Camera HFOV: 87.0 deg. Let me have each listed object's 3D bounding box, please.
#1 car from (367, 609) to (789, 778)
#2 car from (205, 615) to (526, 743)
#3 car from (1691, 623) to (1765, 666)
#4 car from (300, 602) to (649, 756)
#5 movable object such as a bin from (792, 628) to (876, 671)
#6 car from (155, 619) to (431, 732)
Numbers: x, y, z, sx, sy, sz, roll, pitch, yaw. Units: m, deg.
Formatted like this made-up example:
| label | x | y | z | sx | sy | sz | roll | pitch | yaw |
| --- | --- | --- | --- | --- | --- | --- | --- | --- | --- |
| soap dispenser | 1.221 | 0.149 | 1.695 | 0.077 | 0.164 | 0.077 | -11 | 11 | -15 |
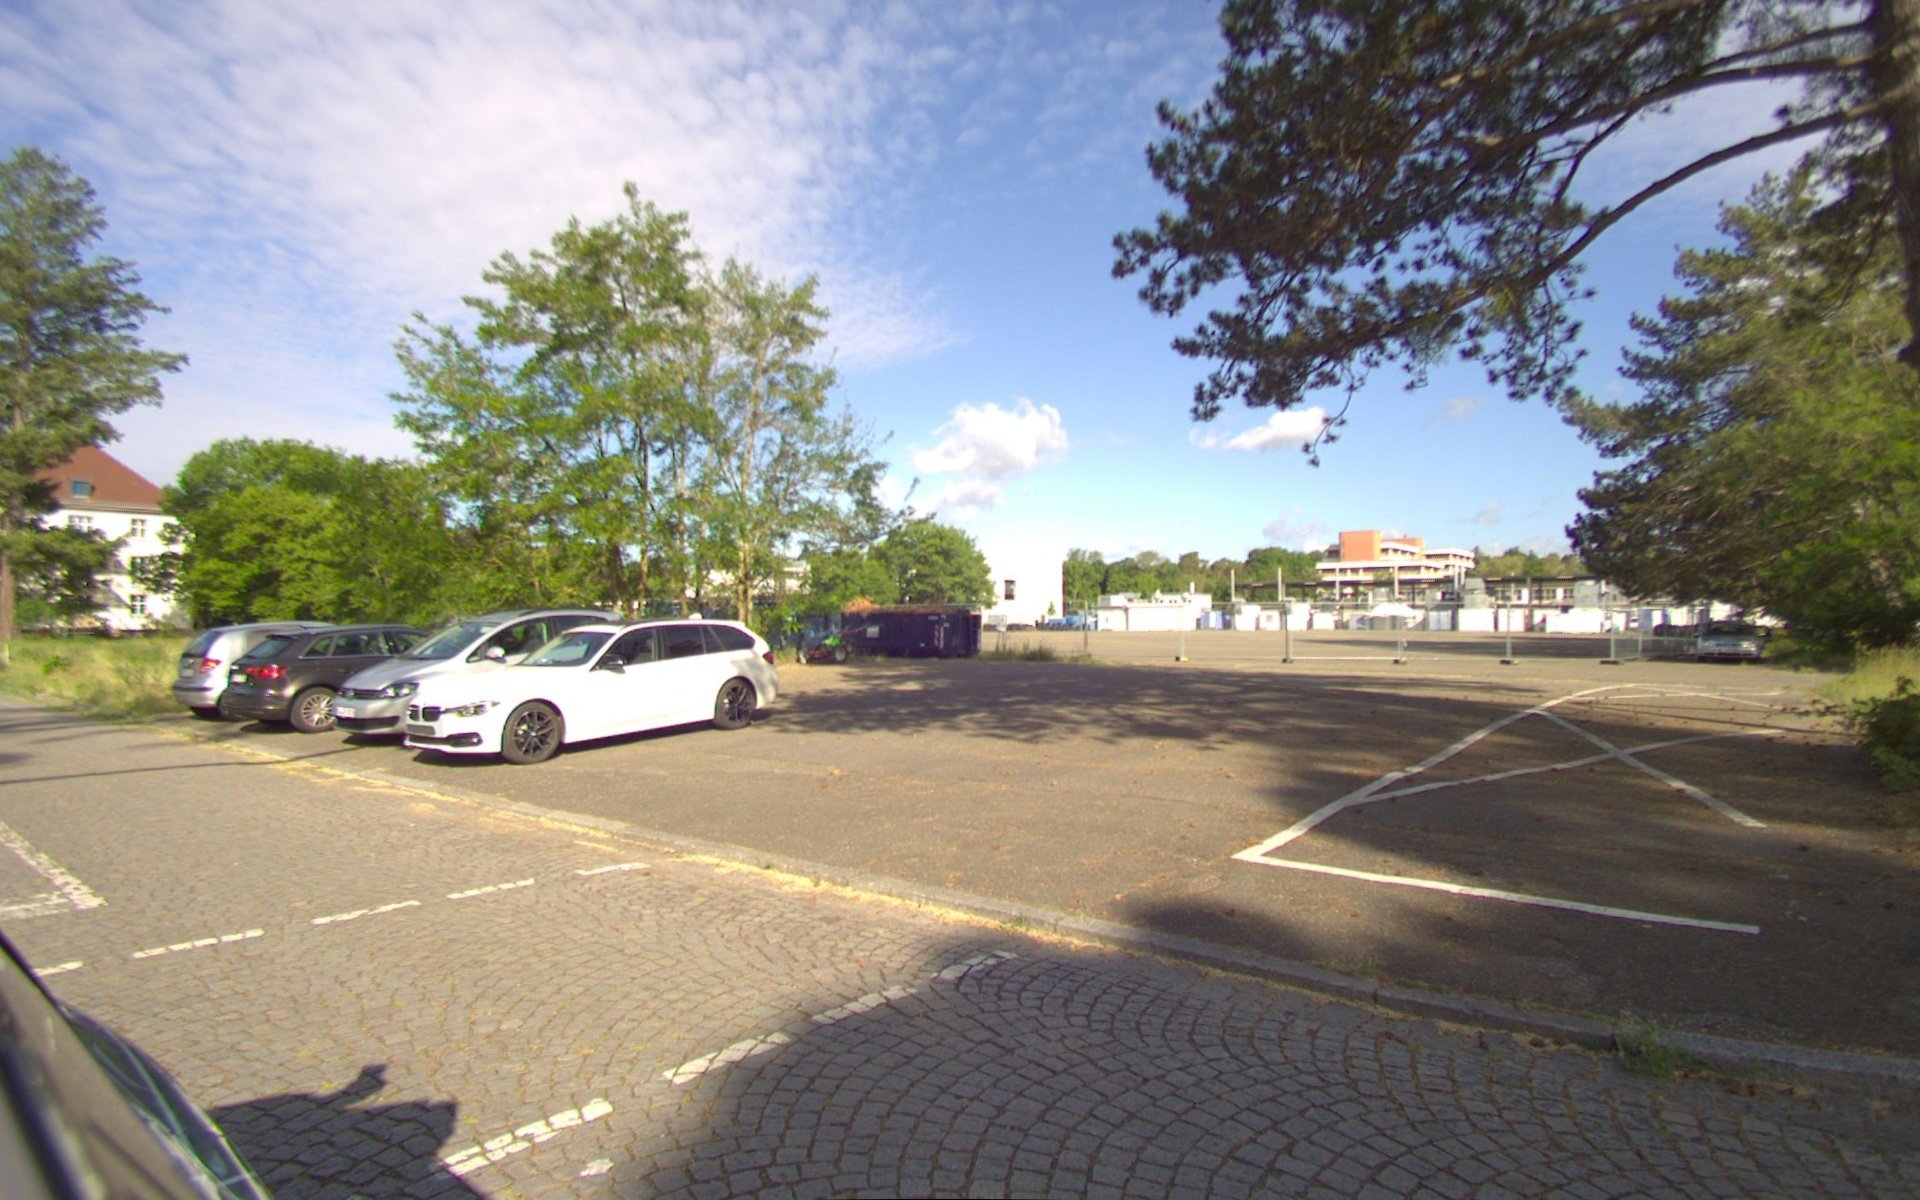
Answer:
| label | x | y | z | sx | sy | sz | roll | pitch | yaw |
| --- | --- | --- | --- | --- | --- | --- | --- | --- | --- |
| car | -4.322 | 0.949 | 12.165 | 1.749 | 1.478 | 4.500 | -2 | 0 | 36 |
| car | -8.717 | 1.052 | 15.097 | 1.686 | 1.482 | 3.760 | -1 | 1 | 39 |
| car | 26.239 | 1.472 | 34.537 | 1.746 | 1.380 | 3.572 | -2 | -2 | 41 |
| car | -6.381 | 0.929 | 13.701 | 1.718 | 1.638 | 3.910 | -1 | 1 | 35 |
| movable object such as a bin | -3.411 | 1.322 | 27.578 | 0.996 | 1.116 | 2.257 | -1 | -2 | 37 |
| car | -10.885 | 1.151 | 16.706 | 1.633 | 1.482 | 3.434 | -1 | 1 | 37 |
